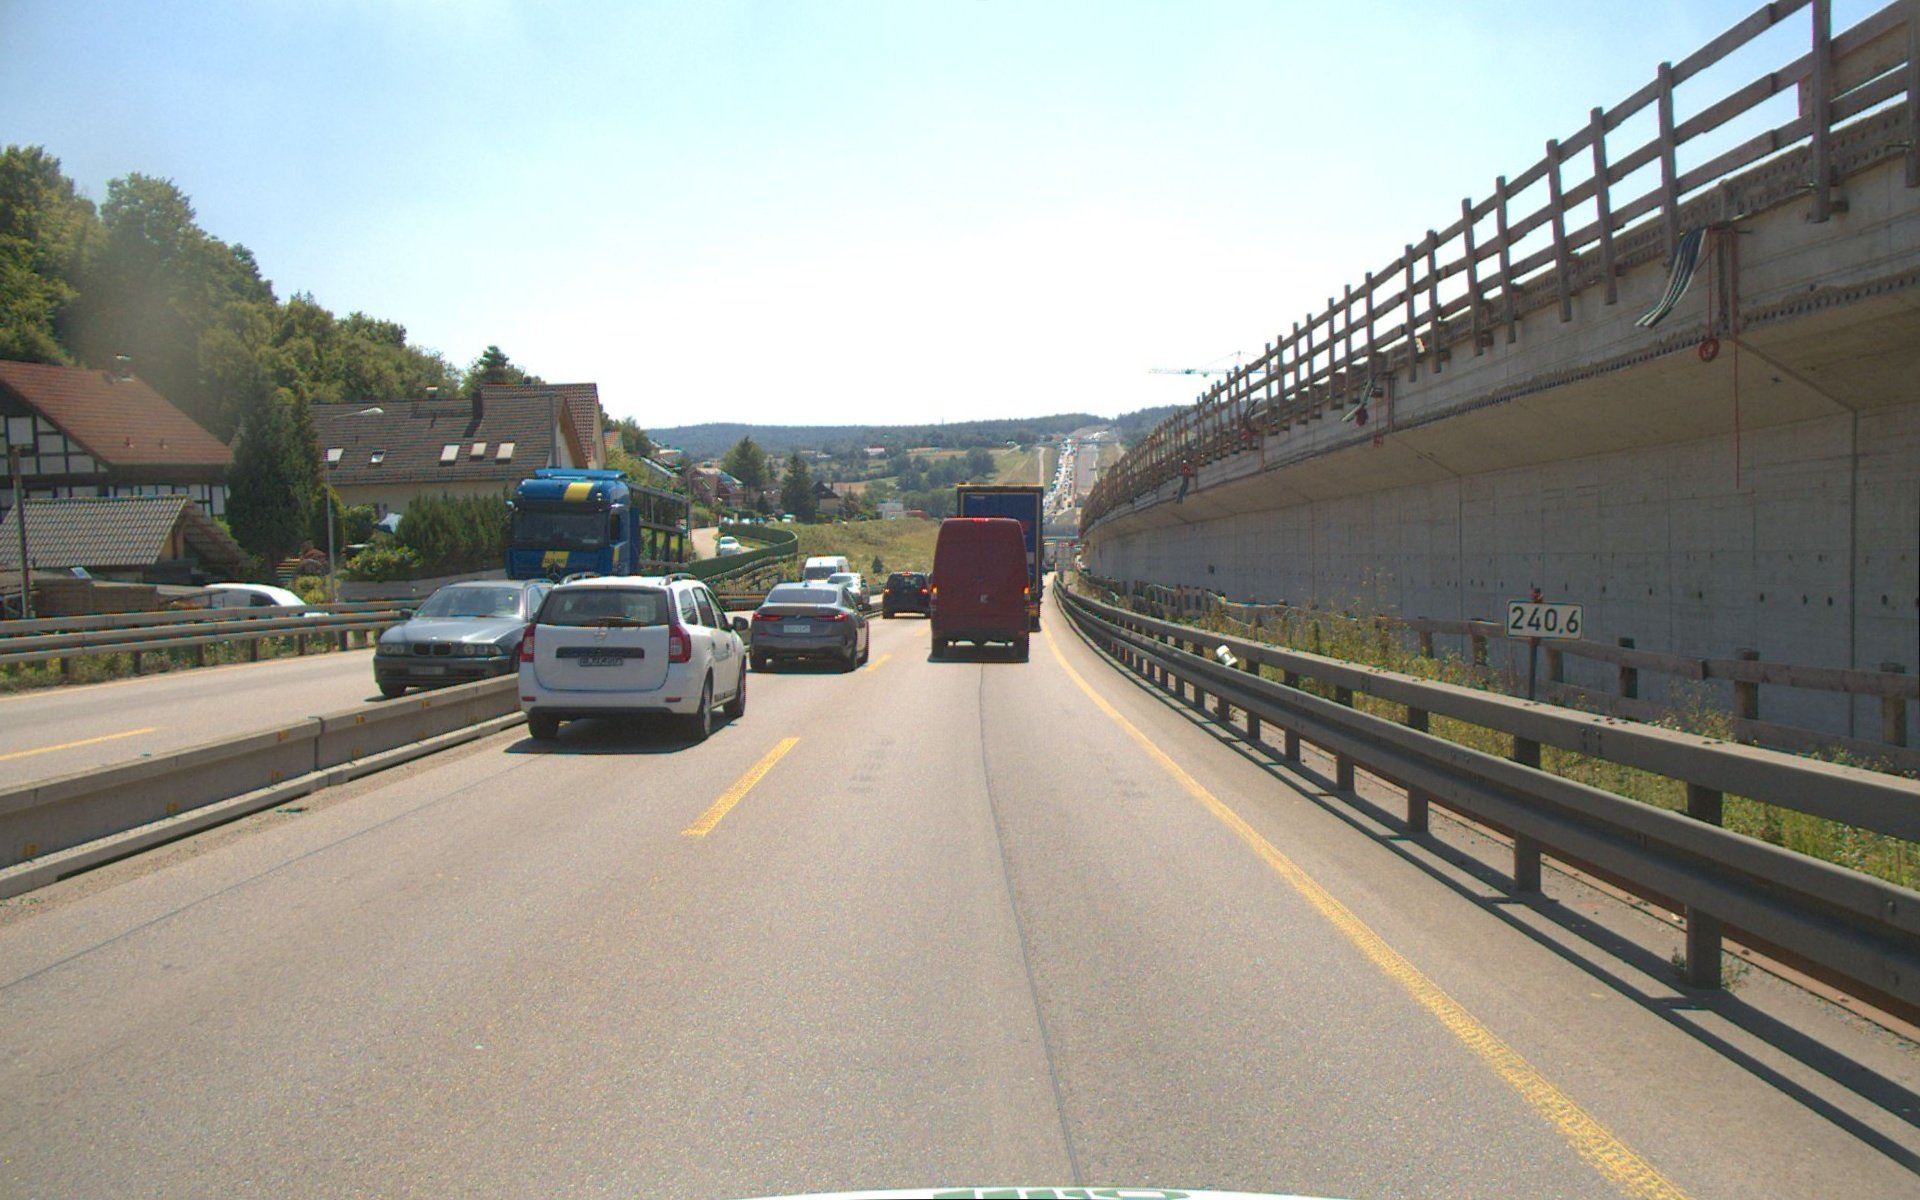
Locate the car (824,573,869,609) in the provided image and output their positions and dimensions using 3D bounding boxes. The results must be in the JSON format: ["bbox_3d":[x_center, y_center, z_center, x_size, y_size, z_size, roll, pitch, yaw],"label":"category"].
[{"bbox_3d":[-4.815,-0.383,70.560,1.529,1.489,4.019,0,1,1],"label":"car"}]

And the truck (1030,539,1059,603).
[{"bbox_3d":[6.023,-2.012,117.480,1.951,4.458,4.002,0,-1,4],"label":"truck"}]

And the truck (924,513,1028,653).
[{"bbox_3d":[0.340,-0.297,33.041,1.952,2.624,4.000,0,-1,1],"label":"truck"}]

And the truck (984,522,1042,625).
[{"bbox_3d":[2.586,-1.203,83.720,2.729,4.900,9.685,0,-1,1],"label":"truck"}]

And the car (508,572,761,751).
[{"bbox_3d":[-3.124,0.551,16.703,1.618,1.509,4.266,-2,0,0],"label":"car"}]

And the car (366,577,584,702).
[{"bbox_3d":[-6.299,0.444,22.019,1.512,1.489,4.629,0,1,0],"label":"car"}]

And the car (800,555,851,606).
[{"bbox_3d":[-7.169,-1.003,88.530,1.952,2.551,5.517,0,-1,3],"label":"car"}]

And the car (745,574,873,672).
[{"bbox_3d":[-2.514,0.388,28.407,1.758,1.511,4.049,1,-1,1],"label":"car"}]

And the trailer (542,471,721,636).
[{"bbox_3d":[-8.895,-1.103,46.330,2.456,4.034,11.400,0,0,2],"label":"trailer"}]

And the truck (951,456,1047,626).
[{"bbox_3d":[1.177,-1.630,52.685,2.729,4.900,9.685,0,-1,1],"label":"truck"}]

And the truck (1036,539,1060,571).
[{"bbox_3d":[13.231,-6.696,248.355,3.394,4.458,8.560,0,-1,4],"label":"truck"}]

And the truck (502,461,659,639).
[{"bbox_3d":[-9.066,-1.094,40.063,2.456,4.034,5.176,0,-1,2],"label":"truck"}]

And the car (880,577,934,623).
[{"bbox_3d":[-1.889,0.026,60.268,1.773,1.636,3.719,0,-1,1],"label":"car"}]
